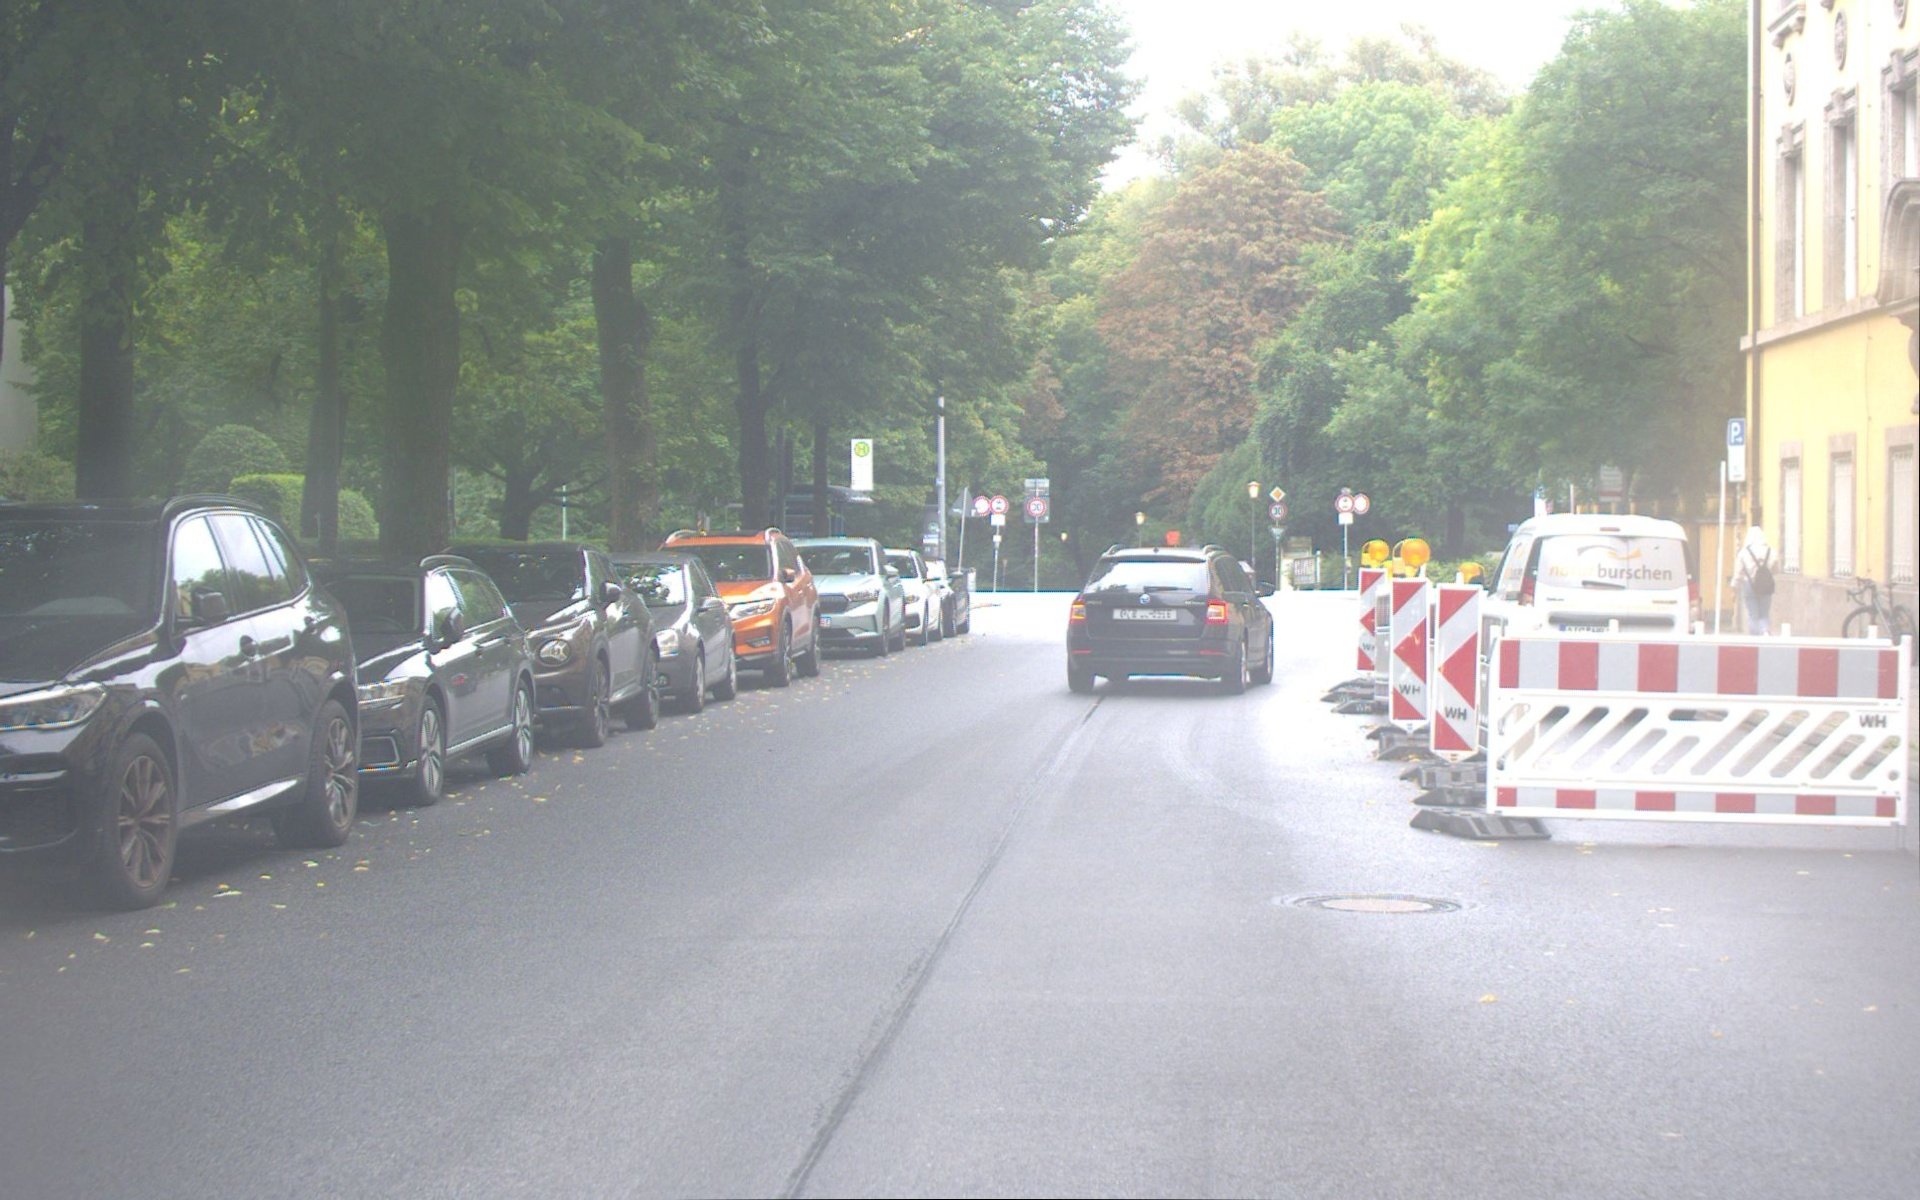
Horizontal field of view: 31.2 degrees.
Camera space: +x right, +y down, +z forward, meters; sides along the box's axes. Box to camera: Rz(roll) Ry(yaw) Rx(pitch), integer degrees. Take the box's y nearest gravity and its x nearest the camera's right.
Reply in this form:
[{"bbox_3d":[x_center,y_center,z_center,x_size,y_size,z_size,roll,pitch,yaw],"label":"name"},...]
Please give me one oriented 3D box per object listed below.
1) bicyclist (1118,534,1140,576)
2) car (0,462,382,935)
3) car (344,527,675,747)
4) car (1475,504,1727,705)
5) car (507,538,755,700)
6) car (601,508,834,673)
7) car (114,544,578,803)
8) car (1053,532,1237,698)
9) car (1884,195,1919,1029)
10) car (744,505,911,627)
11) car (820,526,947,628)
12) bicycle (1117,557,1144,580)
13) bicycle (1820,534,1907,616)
[{"bbox_3d":[6.075,-1.604,123.356,0.680,1.499,0.901,0,1,-4],"label":"bicyclist"},{"bbox_3d":[-4.238,0.352,15.567,1.994,1.791,4.920,-1,1,5],"label":"car"},{"bbox_3d":[-3.435,0.218,27.023,1.786,1.569,4.486,0,1,3],"label":"car"},{"bbox_3d":[5.901,0.025,32.079,1.740,1.744,4.355,0,0,3],"label":"car"},{"bbox_3d":[-3.058,0.130,32.707,1.727,1.418,4.251,0,1,3],"label":"car"},{"bbox_3d":[-2.623,-0.140,38.287,1.873,1.722,4.640,0,1,5],"label":"car"},{"bbox_3d":[-3.713,0.374,21.637,1.719,1.446,4.695,0,1,5],"label":"car"},{"bbox_3d":[1.930,0.106,34.886,1.578,1.578,4.043,0,1,7],"label":"car"},{"bbox_3d":[3.977,0.087,7.605,2.054,2.664,7.614,0,1,2],"label":"car"},{"bbox_3d":[-1.762,-0.482,47.132,1.815,1.596,4.513,0,1,4],"label":"car"},{"bbox_3d":[-1.136,-0.372,52.617,1.577,1.492,4.199,0,1,4],"label":"car"},{"bbox_3d":[6.103,-1.114,123.215,0.679,0.827,2.110,0,0,-5],"label":"bicycle"},{"bbox_3d":[11.332,-0.316,43.164,0.680,1.003,2.057,0,1,4],"label":"bicycle"}]
